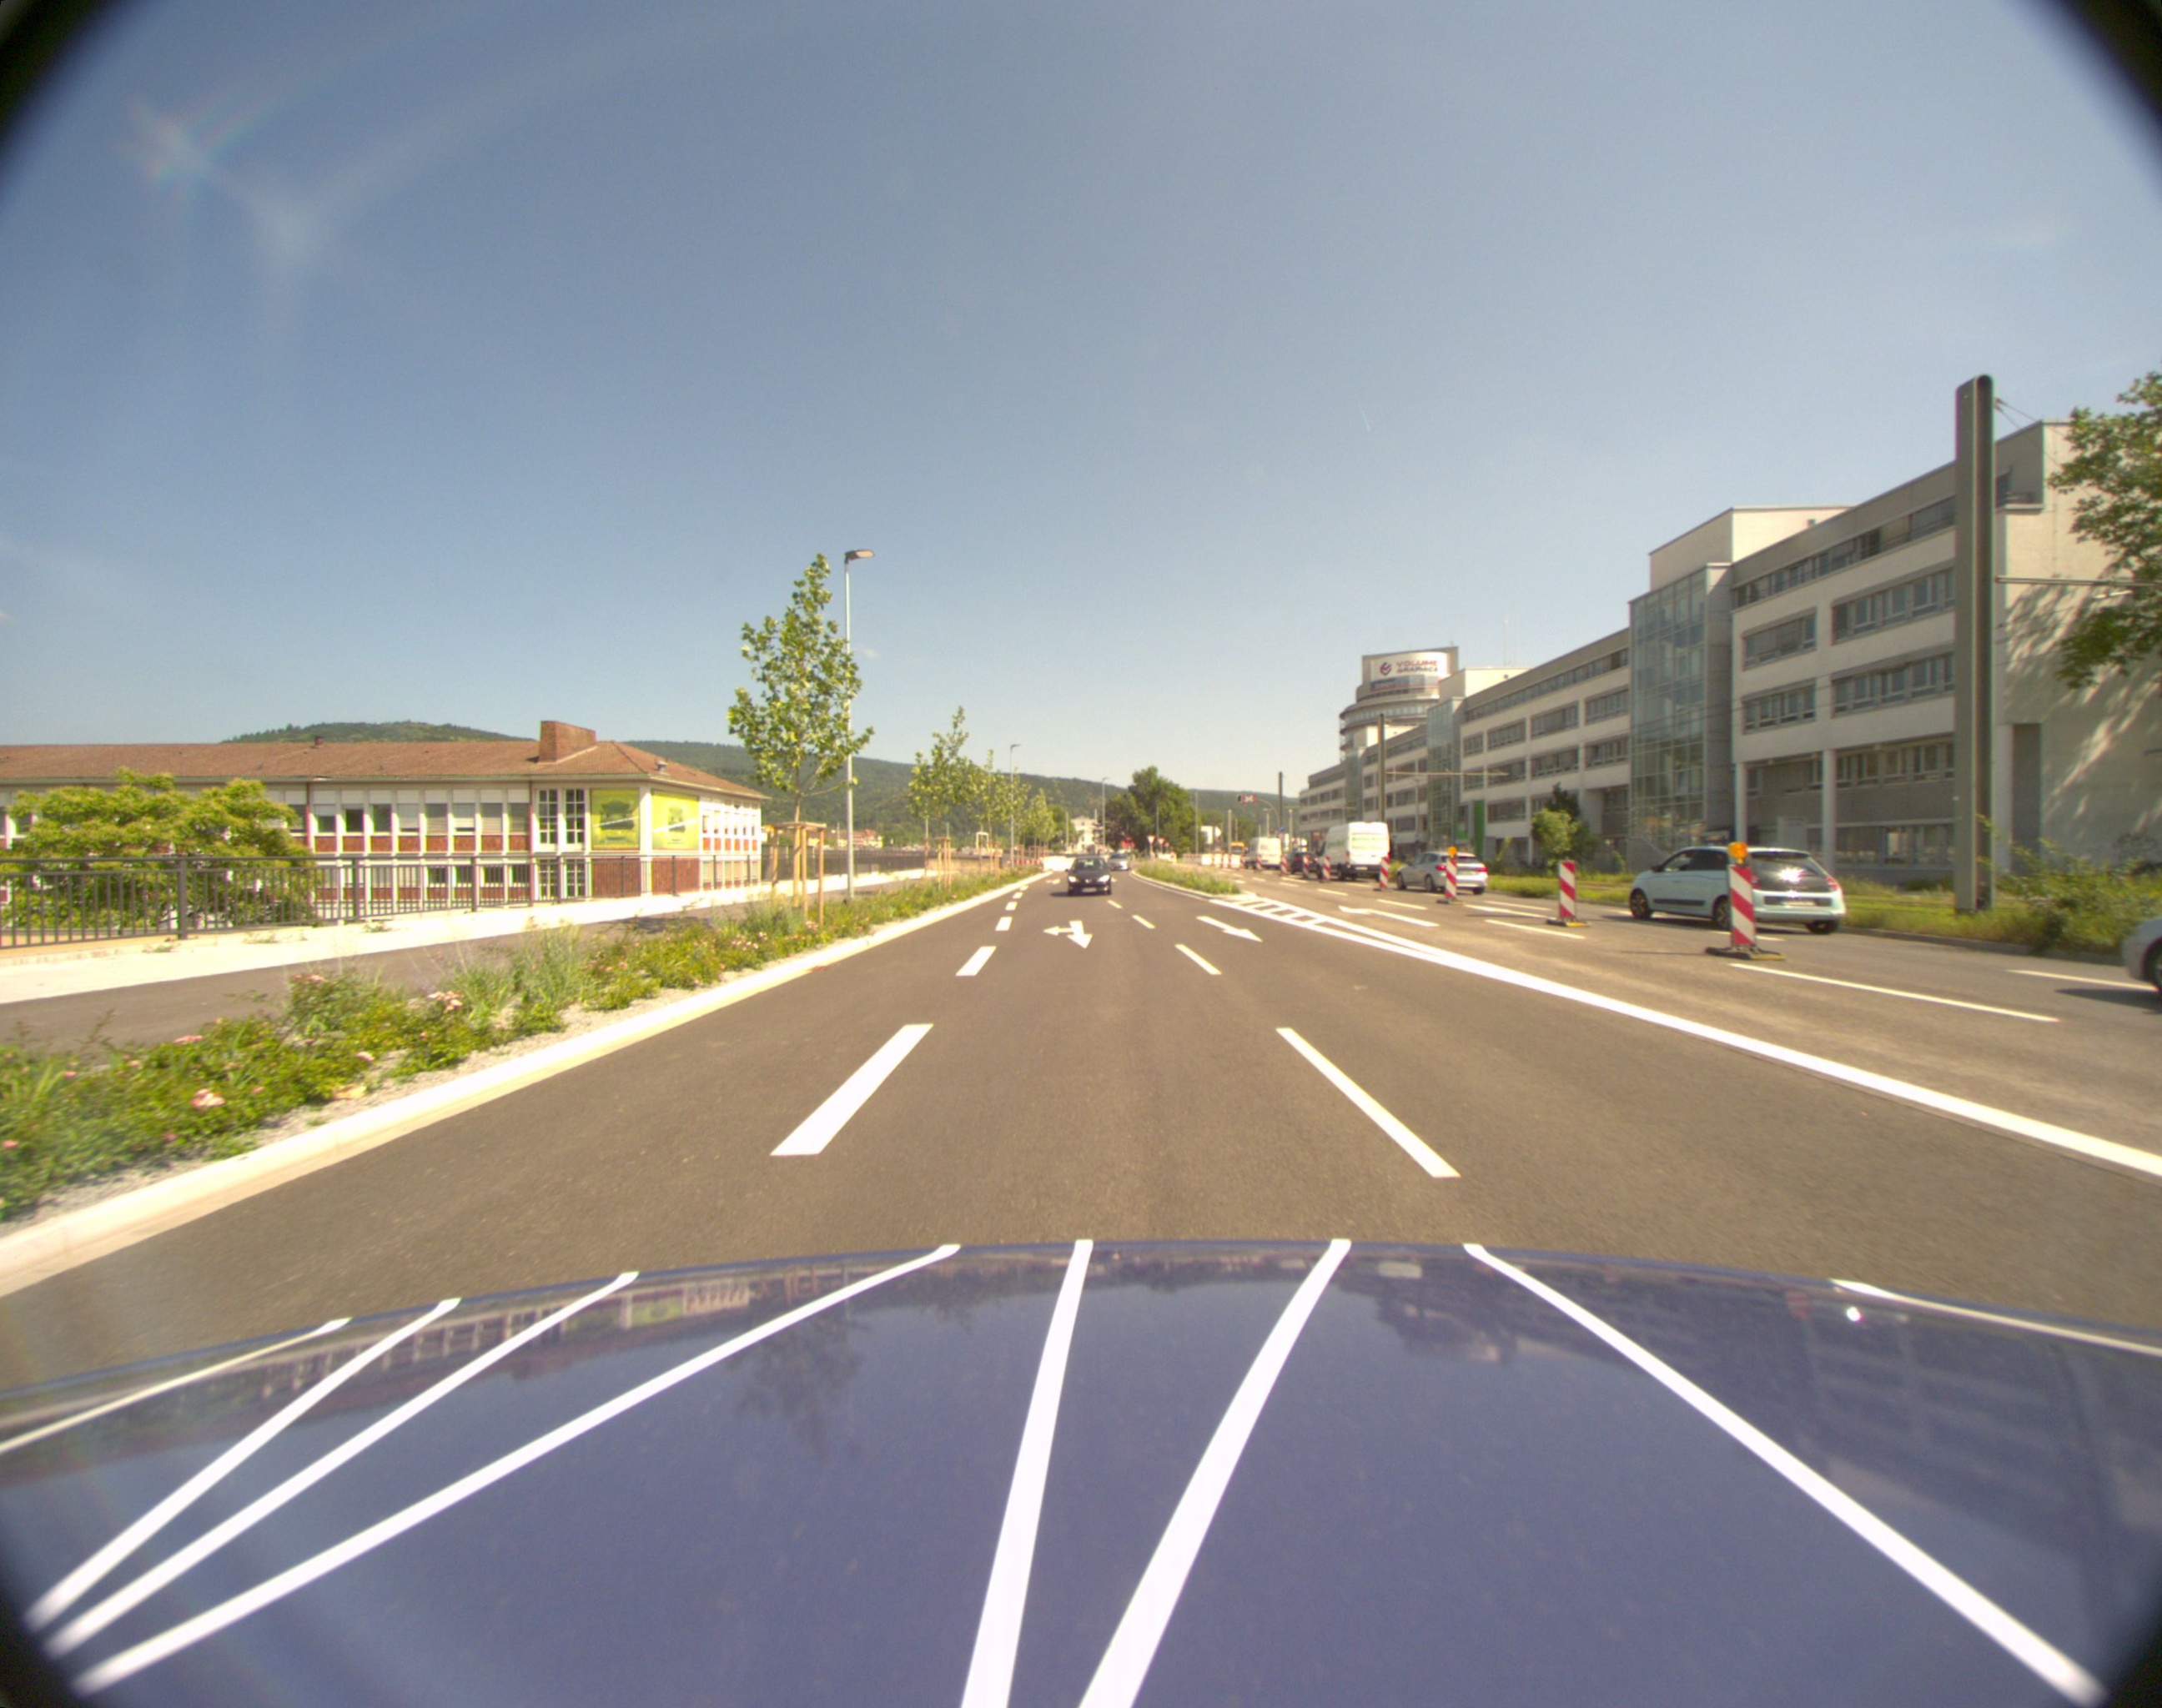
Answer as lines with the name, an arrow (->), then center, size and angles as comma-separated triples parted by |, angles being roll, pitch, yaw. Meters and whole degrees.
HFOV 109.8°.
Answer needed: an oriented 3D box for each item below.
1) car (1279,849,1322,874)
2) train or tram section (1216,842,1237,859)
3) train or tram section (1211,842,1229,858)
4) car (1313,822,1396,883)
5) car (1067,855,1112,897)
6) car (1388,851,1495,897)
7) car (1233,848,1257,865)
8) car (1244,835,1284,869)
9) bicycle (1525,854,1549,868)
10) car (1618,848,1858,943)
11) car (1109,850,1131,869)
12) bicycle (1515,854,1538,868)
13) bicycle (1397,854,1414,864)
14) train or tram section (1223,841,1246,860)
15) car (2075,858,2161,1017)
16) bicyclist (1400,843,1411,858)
car -> 13.582, 0.446, 47.234 | 1.549, 1.448, 4.193 | 2, 1, 2
train or tram section -> 29.893, -0.766, 156.641 | 2.630, 3.430, 11.783 | -2, 0, 4
train or tram section -> 30.700, -0.853, 168.370 | 2.630, 3.430, 11.783 | -2, 0, 4
car -> 13.348, -0.093, 37.569 | 2.082, 2.724, 5.986 | 1, 1, 2
car -> 0.331, 0.788, 29.068 | 1.618, 1.433, 3.706 | 0, 1, 1
car -> 12.651, 0.653, 26.977 | 1.678, 1.435, 4.468 | 1, 1, 1
car -> 15.531, 0.244, 72.100 | 1.584, 1.532, 3.979 | 2, 0, 4
car -> 14.687, -0.151, 61.358 | 2.035, 2.564, 6.195 | 2, 0, 4
bicycle -> 38.954, 0.609, 64.908 | 1.650, 1.182, 0.438 | -2, 0, 8
car -> 12.216, 0.670, 14.471 | 1.583, 1.521, 3.622 | 2, 1, 5
car -> 3.088, 0.429, 61.216 | 1.618, 1.433, 3.768 | 0, 1, 1
bicycle -> 38.887, 0.612, 66.347 | 1.650, 1.182, 0.522 | -2, 0, 8
bicycle -> 34.099, 0.487, 79.831 | 0.756, 1.012, 2.831 | -1, 1, 3
train or tram section -> 29.137, -0.654, 144.824 | 2.630, 3.430, 11.783 | -2, 0, 4
car -> 10.281, 0.767, 5.206 | 1.583, 1.408, 4.298 | 0, 1, 6
bicyclist -> 34.083, -0.377, 79.865 | 0.756, 1.530, 1.077 | -1, 1, 3
